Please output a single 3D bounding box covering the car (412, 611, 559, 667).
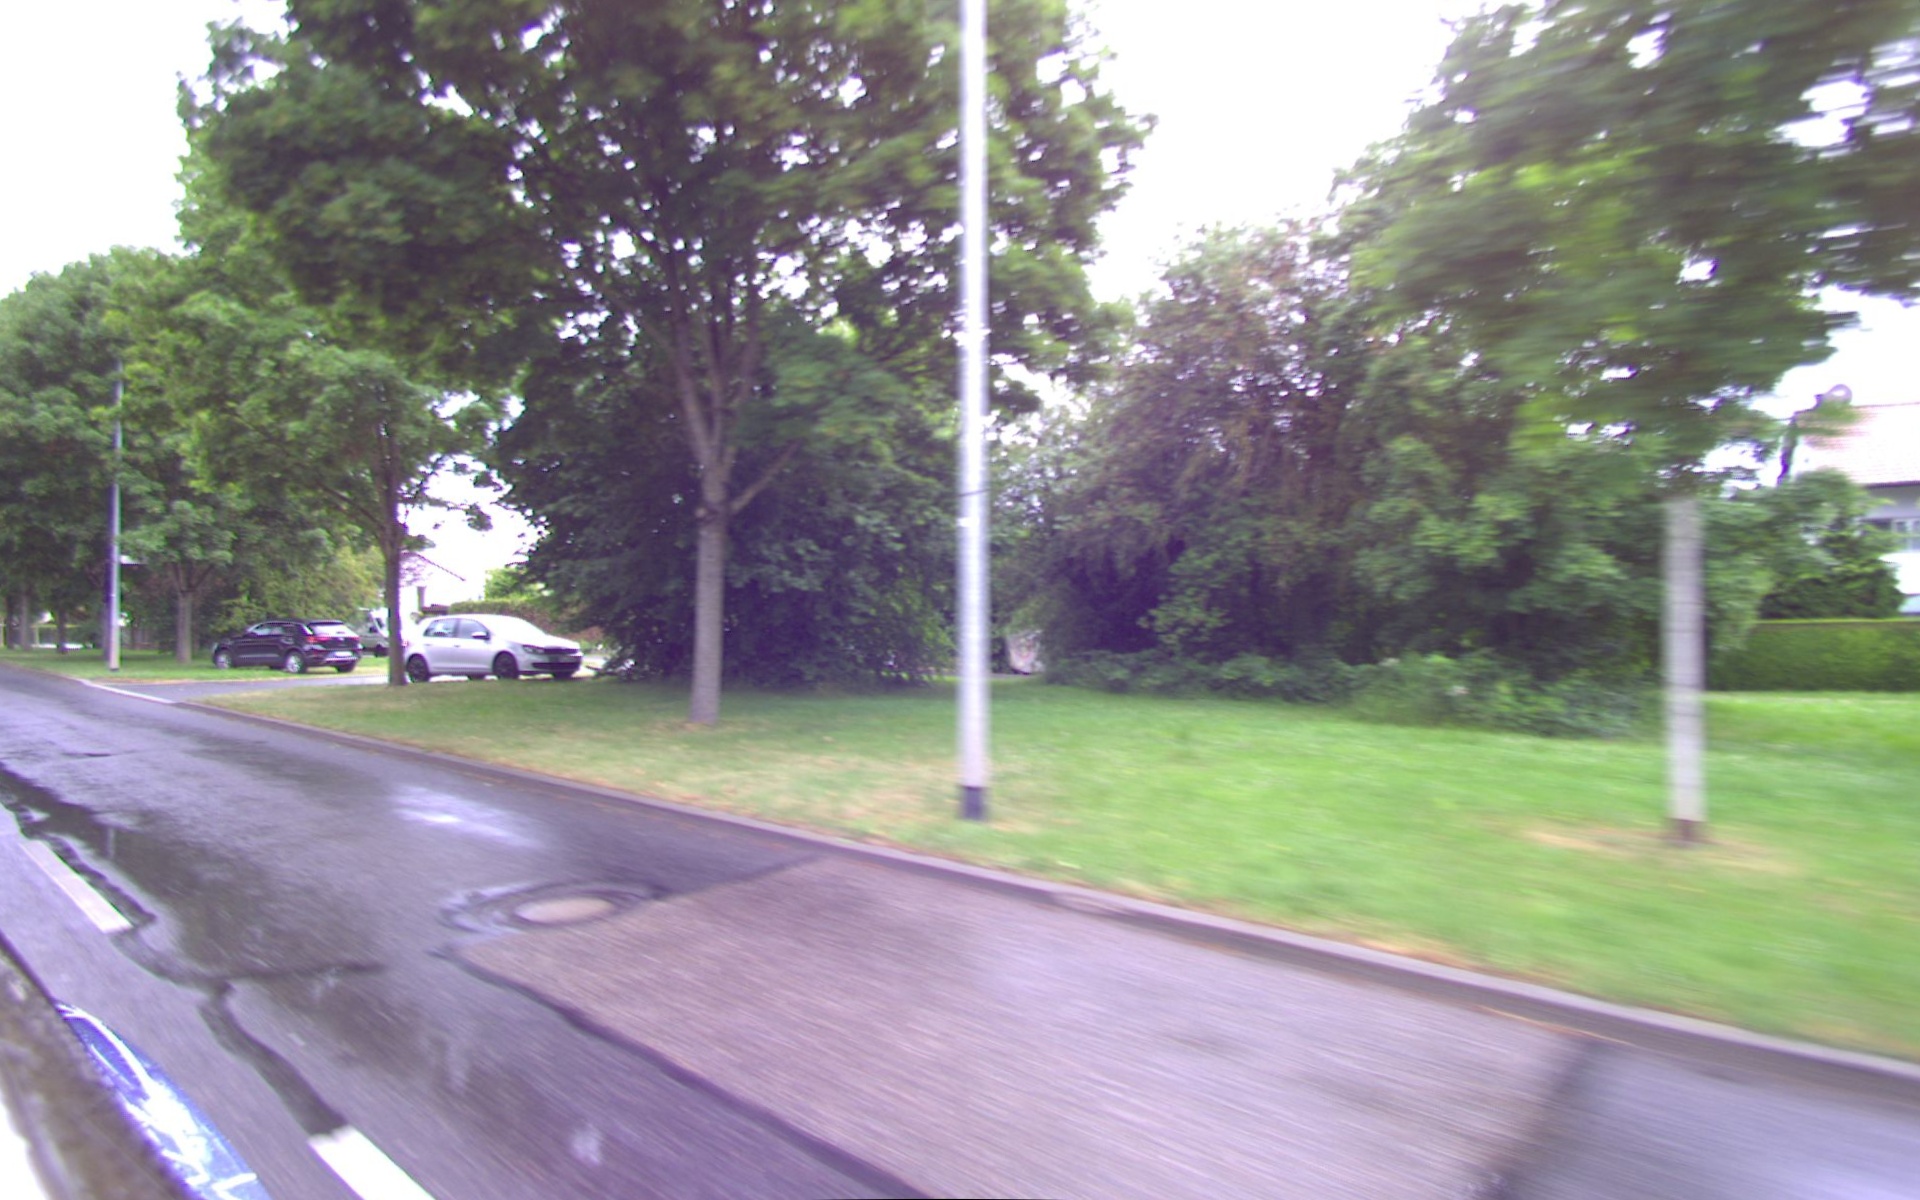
[{"bbox_3d":[-16.870,1.360,35.968,4.864,1.783,1.896,1,-1,22],"label":"car"}]

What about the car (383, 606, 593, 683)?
[{"bbox_3d":[-10.327,0.987,22.130,4.190,1.441,1.872,-4,-3,23],"label":"car"}]

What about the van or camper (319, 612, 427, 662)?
[{"bbox_3d":[-29.272,1.837,50.404,6.135,2.353,2.073,-2,-3,33],"label":"van or camper"}]

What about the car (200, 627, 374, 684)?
[{"bbox_3d":[-19.150,1.558,28.840,4.212,1.525,1.884,0,-2,17],"label":"car"}]

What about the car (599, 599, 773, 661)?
[{"bbox_3d":[-7.893,0.881,29.153,4.569,1.520,1.857,-3,-3,18],"label":"car"}]
